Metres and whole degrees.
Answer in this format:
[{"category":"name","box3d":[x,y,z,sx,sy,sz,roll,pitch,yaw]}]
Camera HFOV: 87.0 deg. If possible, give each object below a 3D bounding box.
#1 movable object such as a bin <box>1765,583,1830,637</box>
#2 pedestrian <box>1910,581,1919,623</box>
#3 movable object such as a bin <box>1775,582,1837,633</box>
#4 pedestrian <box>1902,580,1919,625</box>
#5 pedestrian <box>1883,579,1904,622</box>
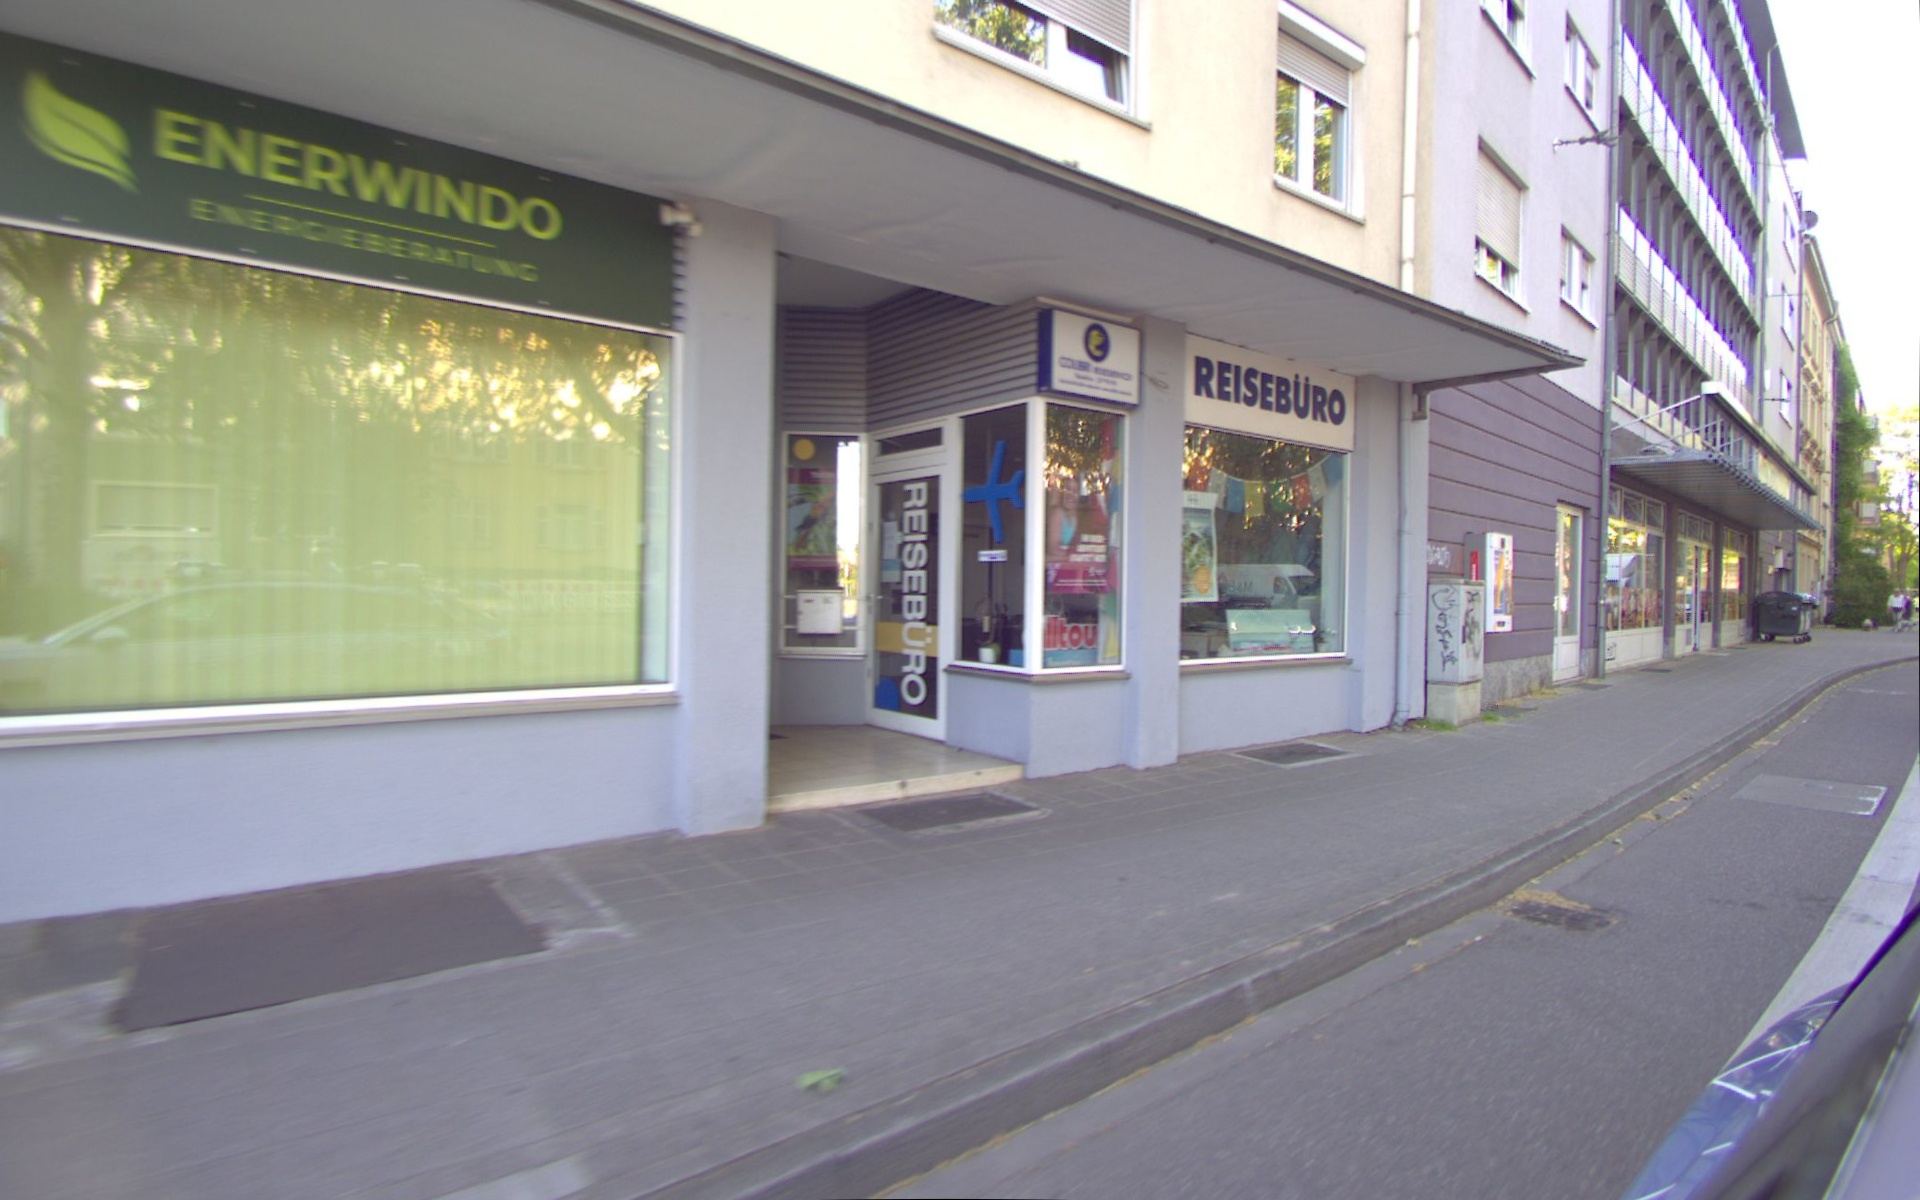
[{"category":"movable object such as a bin","box3d":[23.162,0.248,27.998,1.349,1.427,1.202,0,1,-43]},{"category":"pedestrian","box3d":[38.431,0.085,40.513,0.504,1.693,0.540,0,1,-42]},{"category":"movable object such as a bin","box3d":[24.564,0.207,29.377,1.349,1.427,1.202,0,1,-43]},{"category":"pedestrian","box3d":[36.789,0.091,39.071,0.620,1.693,0.540,0,1,-43]},{"category":"pedestrian","box3d":[37.863,0.005,41.039,0.620,1.743,0.540,0,1,-43]}]
